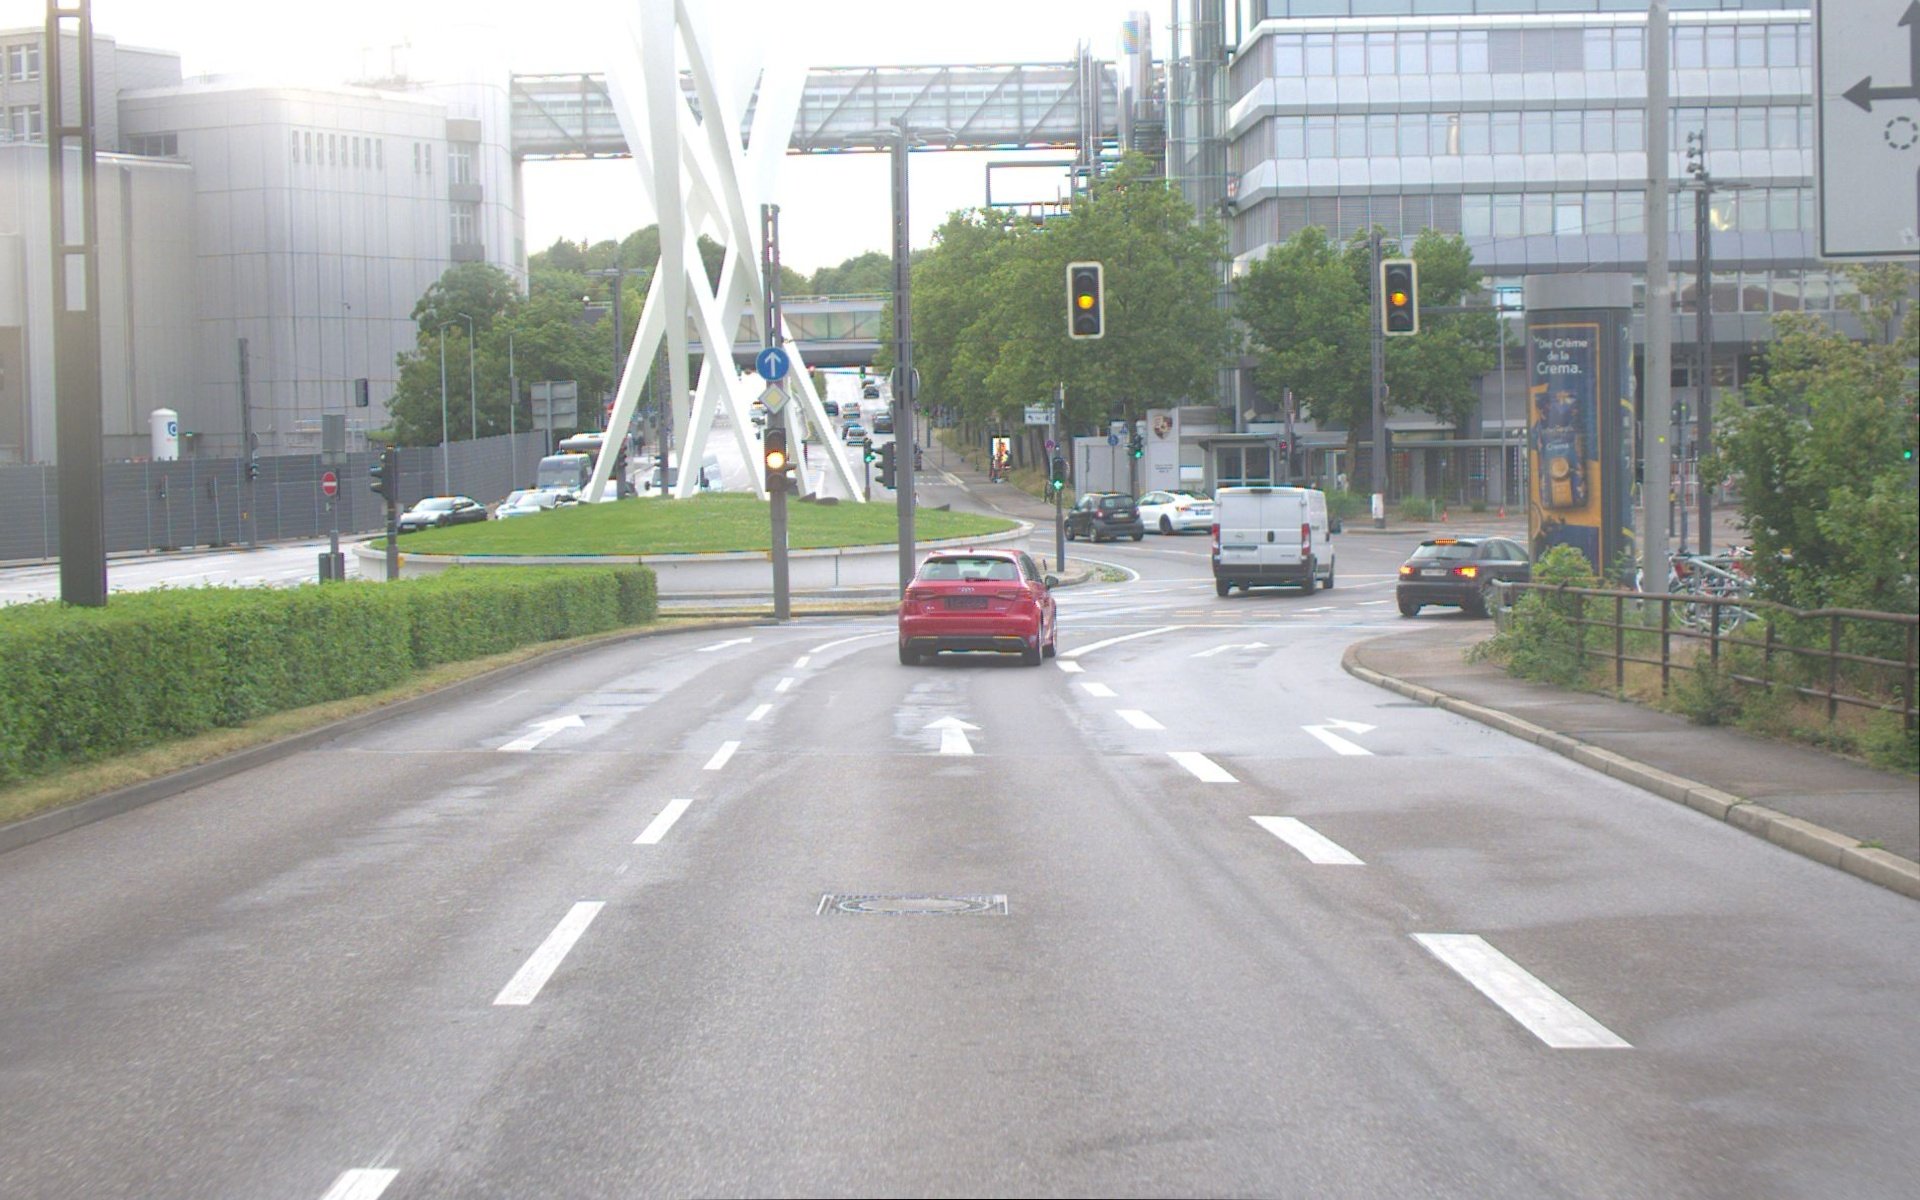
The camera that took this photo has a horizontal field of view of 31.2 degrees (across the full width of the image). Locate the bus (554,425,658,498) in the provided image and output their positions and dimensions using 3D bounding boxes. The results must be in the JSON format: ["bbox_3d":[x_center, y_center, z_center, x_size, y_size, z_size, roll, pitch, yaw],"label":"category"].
[{"bbox_3d":[-16.386,-6.428,160.136,2.669,3.190,12.669,-1,2,4],"label":"bus"}]

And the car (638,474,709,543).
[{"bbox_3d":[-10.590,-3.419,127.377,1.993,2.438,5.427,-2,2,1],"label":"car"}]

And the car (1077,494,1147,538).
[{"bbox_3d":[4.710,-2.590,106.724,1.557,1.284,3.414,-1,1,-8],"label":"car"}]

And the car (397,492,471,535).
[{"bbox_3d":[-18.997,-3.147,124.301,1.833,1.467,4.514,-1,2,1],"label":"car"}]

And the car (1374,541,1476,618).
[{"bbox_3d":[8.273,-0.384,61.397,1.610,1.286,3.566,-1,1,5],"label":"car"}]

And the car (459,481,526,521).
[{"bbox_3d":[-17.947,-3.815,132.062,1.833,1.467,4.514,-1,2,1],"label":"car"}]

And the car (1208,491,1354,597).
[{"bbox_3d":[6.765,-1.166,71.912,2.234,2.100,4.951,-1,1,15],"label":"car"}]

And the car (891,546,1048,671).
[{"bbox_3d":[0.164,0.075,42.922,1.772,1.459,3.732,-1,1,3],"label":"car"}]

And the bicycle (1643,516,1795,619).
[{"bbox_3d":[9.568,-0.415,43.329,1.926,1.219,0.599,-3,1,-29],"label":"bicycle"}]

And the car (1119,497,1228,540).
[{"bbox_3d":[6.804,-2.588,109.784,1.667,1.296,3.886,-2,1,-28],"label":"car"}]

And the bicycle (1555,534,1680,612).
[{"bbox_3d":[9.884,-0.410,51.724,1.770,1.136,0.678,-1,1,7],"label":"bicycle"}]

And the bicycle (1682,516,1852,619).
[{"bbox_3d":[9.785,-0.401,41.678,1.925,1.174,0.599,-2,1,-16],"label":"bicycle"}]

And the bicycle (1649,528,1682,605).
[{"bbox_3d":[10.856,-0.520,52.889,0.385,1.158,2.000,-1,1,14],"label":"bicycle"}]

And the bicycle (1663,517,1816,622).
[{"bbox_3d":[9.658,-0.382,42.594,1.926,1.219,0.599,-3,1,-30],"label":"bicycle"}]

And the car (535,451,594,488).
[{"bbox_3d":[-16.585,-5.450,144.206,1.833,1.467,4.514,-1,2,1],"label":"car"}]

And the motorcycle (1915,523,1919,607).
[{"bbox_3d":[17.698,-0.617,59.372,2.231,1.447,0.756,0,2,23],"label":"motorcycle"}]

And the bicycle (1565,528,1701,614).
[{"bbox_3d":[9.565,-0.414,48.901,1.800,1.157,0.592,-2,1,3],"label":"bicycle"}]
